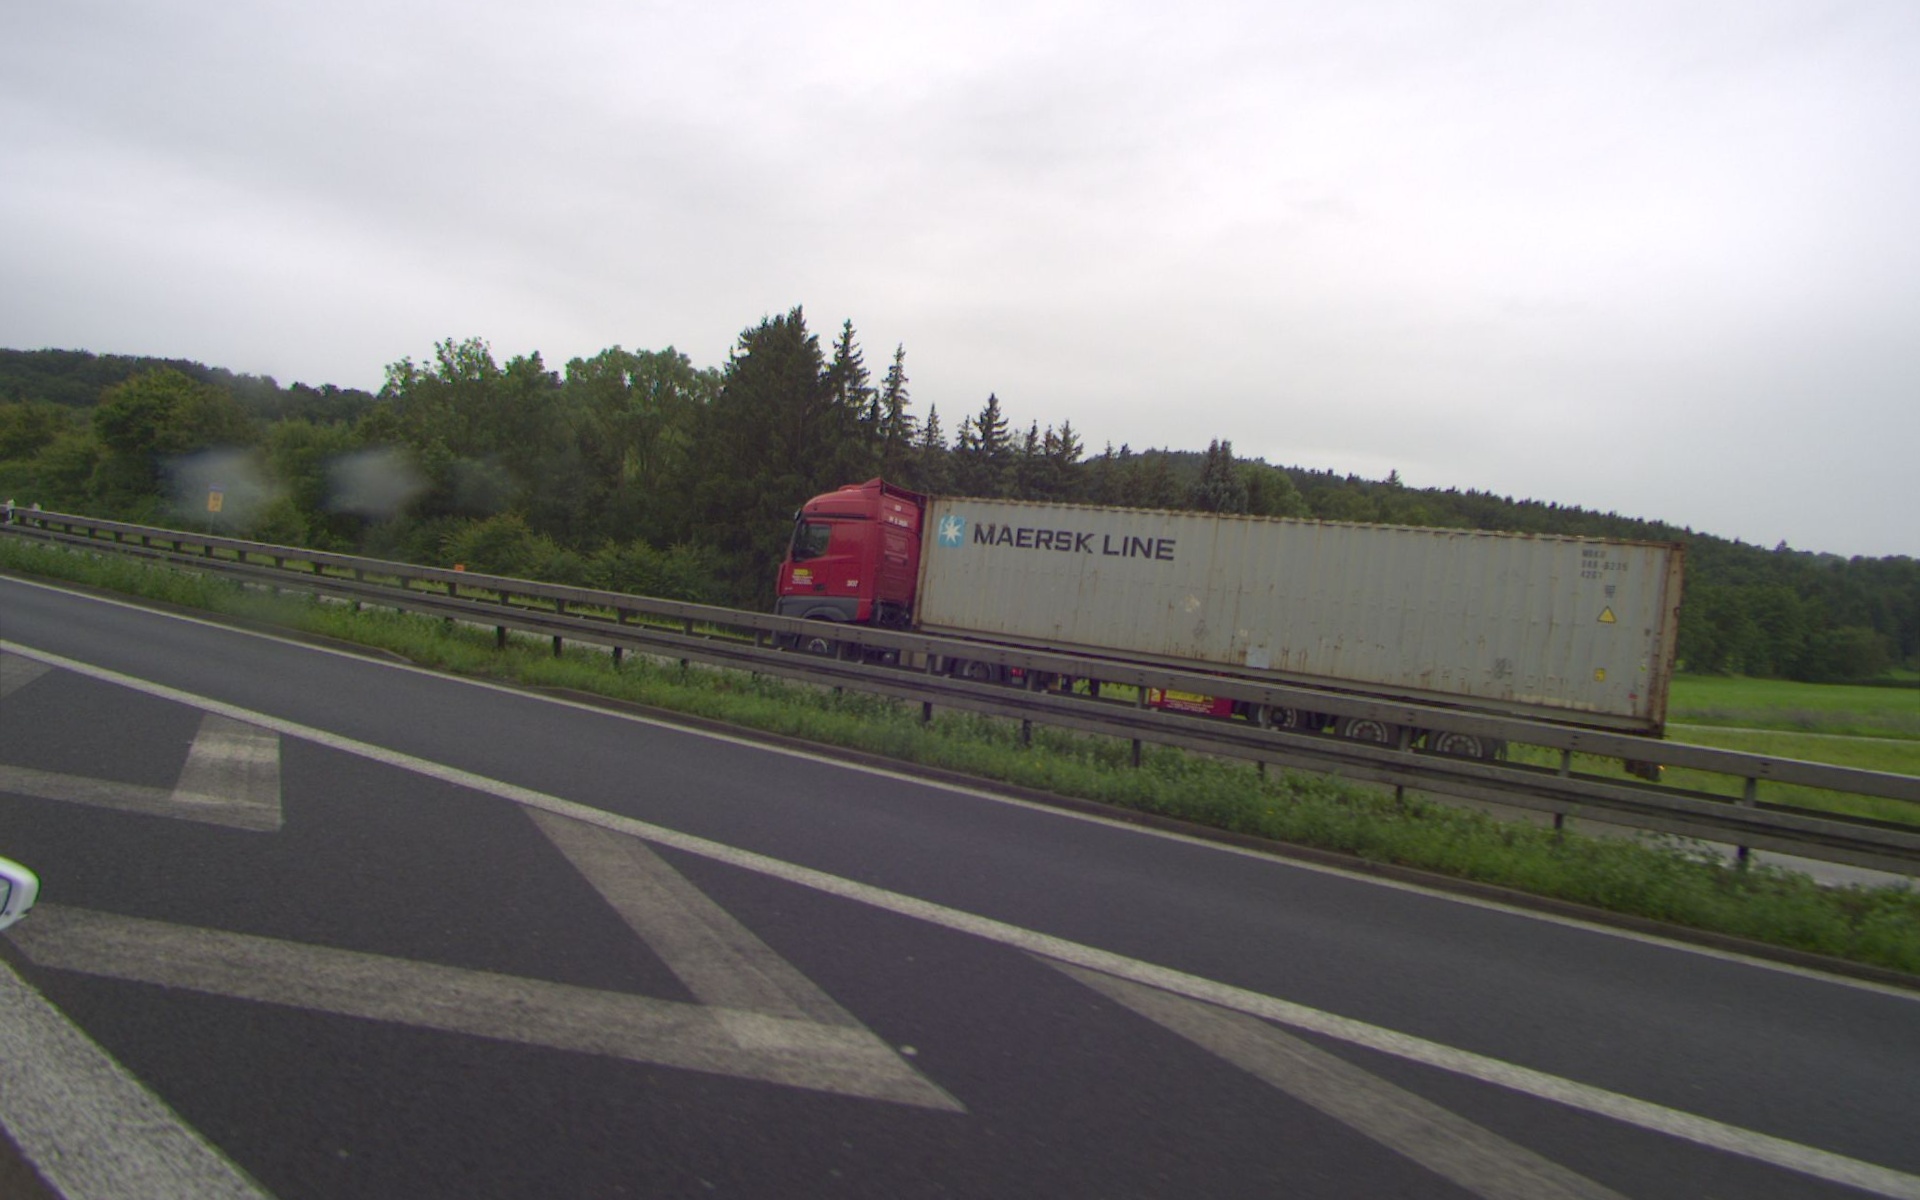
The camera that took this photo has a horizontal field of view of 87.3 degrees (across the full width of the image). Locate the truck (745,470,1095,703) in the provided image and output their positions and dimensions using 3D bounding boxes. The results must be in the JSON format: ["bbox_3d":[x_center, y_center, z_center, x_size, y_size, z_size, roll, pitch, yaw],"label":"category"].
[{"bbox_3d":[-0.861,-0.313,20.536,6.280,3.930,2.623,7,-1,28],"label":"truck"}]

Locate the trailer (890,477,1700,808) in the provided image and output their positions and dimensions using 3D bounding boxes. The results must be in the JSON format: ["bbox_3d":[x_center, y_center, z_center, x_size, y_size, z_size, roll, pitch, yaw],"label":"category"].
[{"bbox_3d":[4.884,0.337,17.505,12.272,3.940,2.611,6,-1,28],"label":"trailer"}]
